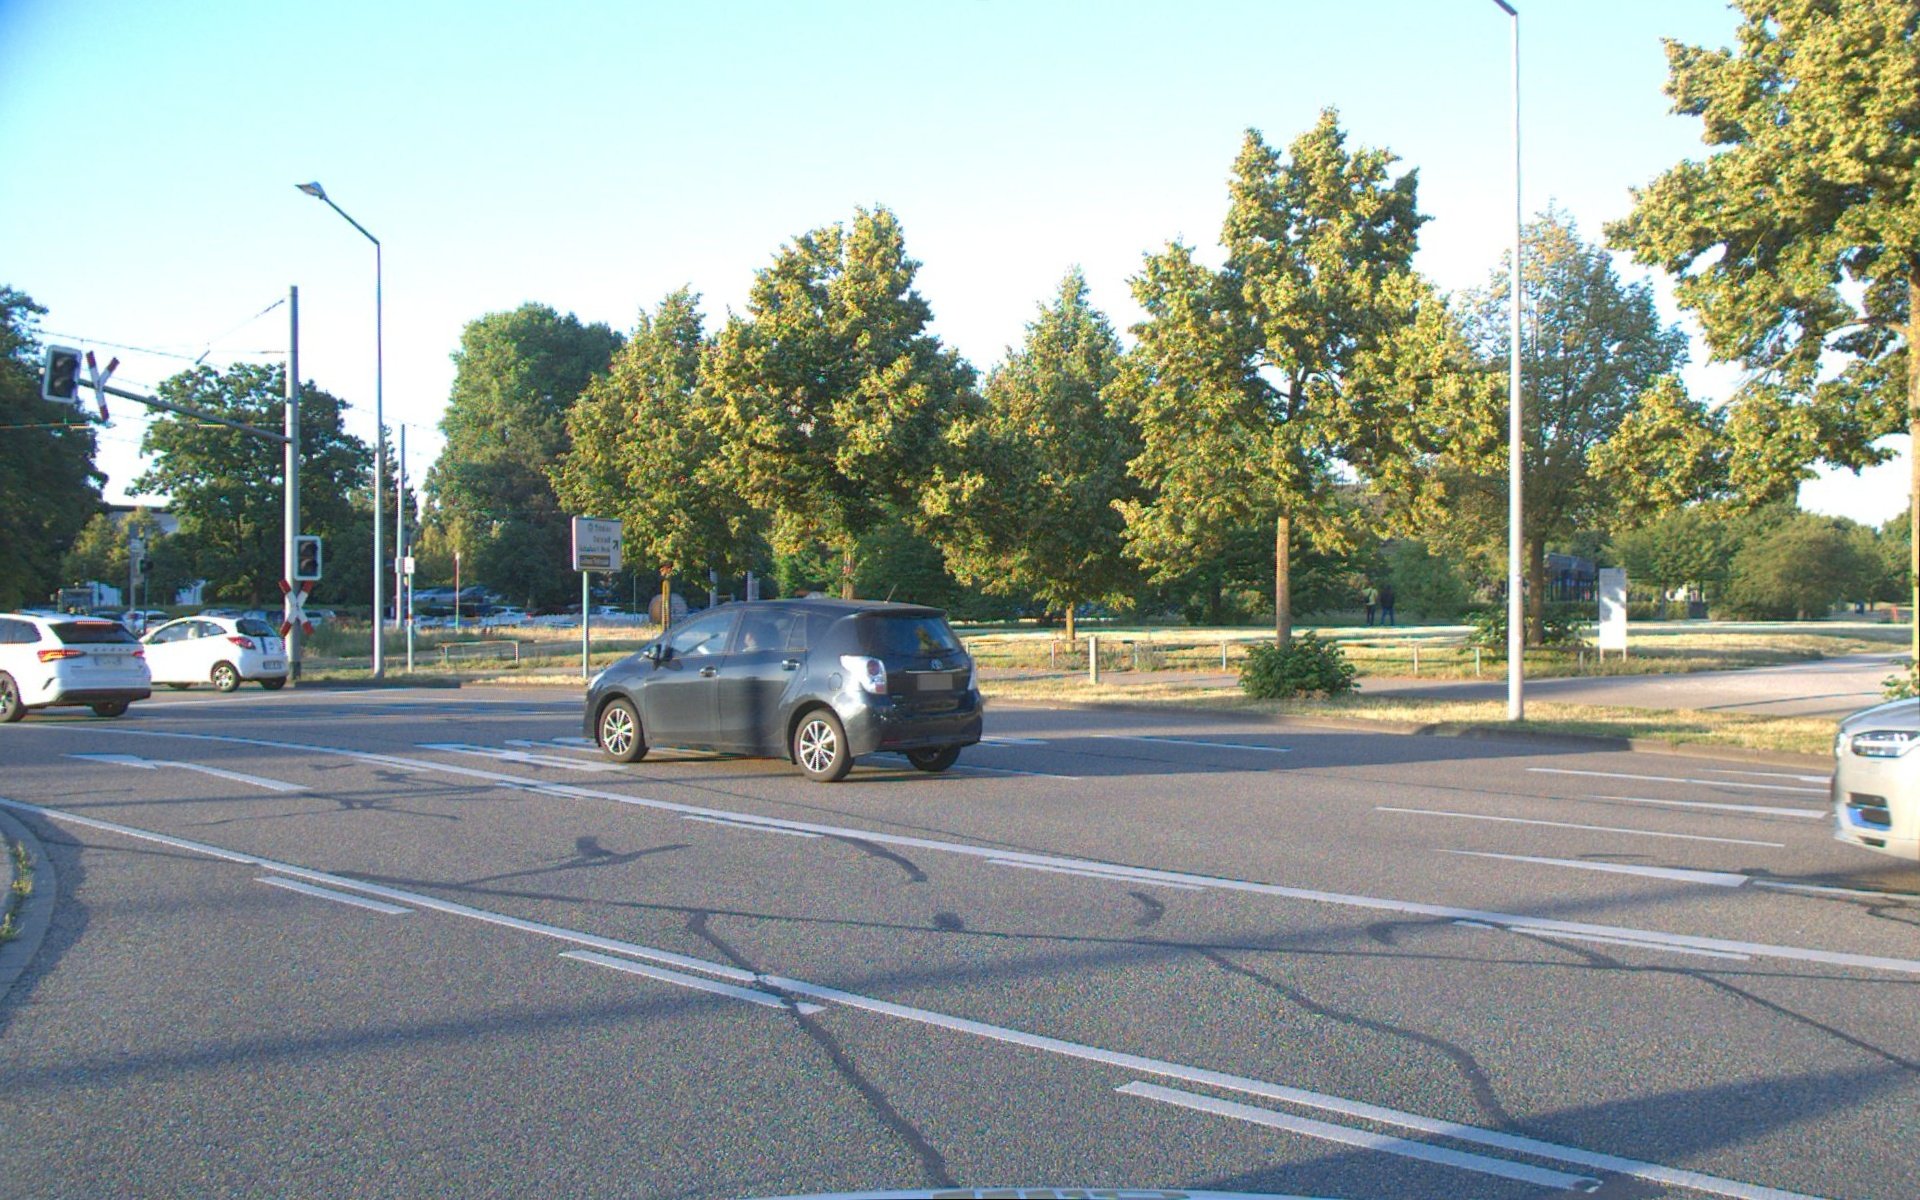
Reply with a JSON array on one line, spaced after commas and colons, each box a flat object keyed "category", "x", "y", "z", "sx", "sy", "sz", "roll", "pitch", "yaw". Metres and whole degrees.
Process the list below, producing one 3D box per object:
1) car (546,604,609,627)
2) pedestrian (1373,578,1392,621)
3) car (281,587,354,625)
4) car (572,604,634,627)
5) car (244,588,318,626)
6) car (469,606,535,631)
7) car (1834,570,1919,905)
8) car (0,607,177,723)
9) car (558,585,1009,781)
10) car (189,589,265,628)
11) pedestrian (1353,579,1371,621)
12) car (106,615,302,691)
[{"category": "car", "x": -26.318, "y": 1.049, "z": 113.741, "sx": 3.913, "sy": 1.578, "sz": 1.996, "roll": 0, "pitch": 0, "yaw": 30}, {"category": "pedestrian", "x": 16.547, "y": -0.020, "z": 64.718, "sx": 0.520, "sy": 1.655, "sz": 0.617, "roll": 0, "pitch": 0, "yaw": 38}, {"category": "car", "x": -37.307, "y": 0.324, "z": 96.022, "sx": 3.914, "sy": 2.135, "sz": 1.995, "roll": 0, "pitch": 0, "yaw": 31}, {"category": "car", "x": -24.995, "y": 1.070, "z": 115.786, "sx": 3.913, "sy": 1.578, "sz": 1.996, "roll": 0, "pitch": 0, "yaw": 30}, {"category": "car", "x": -38.381, "y": 0.390, "z": 93.497, "sx": 3.914, "sy": 2.135, "sz": 1.995, "roll": 0, "pitch": 0, "yaw": 31}, {"category": "car", "x": -29.751, "y": 1.215, "z": 107.521, "sx": 3.913, "sy": 1.578, "sz": 1.996, "roll": 0, "pitch": 0, "yaw": 30}, {"category": "car", "x": 7.343, "y": 0.747, "z": 8.727, "sx": 4.811, "sy": 1.785, "sz": 1.920, "roll": 0, "pitch": -1, "yaw": 28}, {"category": "car", "x": -13.324, "y": 0.858, "z": 23.276, "sx": 4.444, "sy": 1.474, "sz": 1.727, "roll": 0, "pitch": 1, "yaw": 25}, {"category": "car", "x": -1.798, "y": 0.717, "z": 16.077, "sx": 4.369, "sy": 1.662, "sz": 1.795, "roll": 0, "pitch": -1, "yaw": 38}, {"category": "car", "x": -40.279, "y": 0.456, "z": 90.879, "sx": 3.914, "sy": 2.135, "sz": 1.995, "roll": 0, "pitch": 0, "yaw": 31}, {"category": "pedestrian", "x": 15.767, "y": 0.009, "z": 64.875, "sx": 0.523, "sy": 1.655, "sz": 0.578, "roll": 0, "pitch": 0, "yaw": 38}, {"category": "car", "x": -15.327, "y": 1.055, "z": 33.575, "sx": 3.401, "sy": 1.468, "sz": 1.555, "roll": 0, "pitch": -1, "yaw": 15}]
